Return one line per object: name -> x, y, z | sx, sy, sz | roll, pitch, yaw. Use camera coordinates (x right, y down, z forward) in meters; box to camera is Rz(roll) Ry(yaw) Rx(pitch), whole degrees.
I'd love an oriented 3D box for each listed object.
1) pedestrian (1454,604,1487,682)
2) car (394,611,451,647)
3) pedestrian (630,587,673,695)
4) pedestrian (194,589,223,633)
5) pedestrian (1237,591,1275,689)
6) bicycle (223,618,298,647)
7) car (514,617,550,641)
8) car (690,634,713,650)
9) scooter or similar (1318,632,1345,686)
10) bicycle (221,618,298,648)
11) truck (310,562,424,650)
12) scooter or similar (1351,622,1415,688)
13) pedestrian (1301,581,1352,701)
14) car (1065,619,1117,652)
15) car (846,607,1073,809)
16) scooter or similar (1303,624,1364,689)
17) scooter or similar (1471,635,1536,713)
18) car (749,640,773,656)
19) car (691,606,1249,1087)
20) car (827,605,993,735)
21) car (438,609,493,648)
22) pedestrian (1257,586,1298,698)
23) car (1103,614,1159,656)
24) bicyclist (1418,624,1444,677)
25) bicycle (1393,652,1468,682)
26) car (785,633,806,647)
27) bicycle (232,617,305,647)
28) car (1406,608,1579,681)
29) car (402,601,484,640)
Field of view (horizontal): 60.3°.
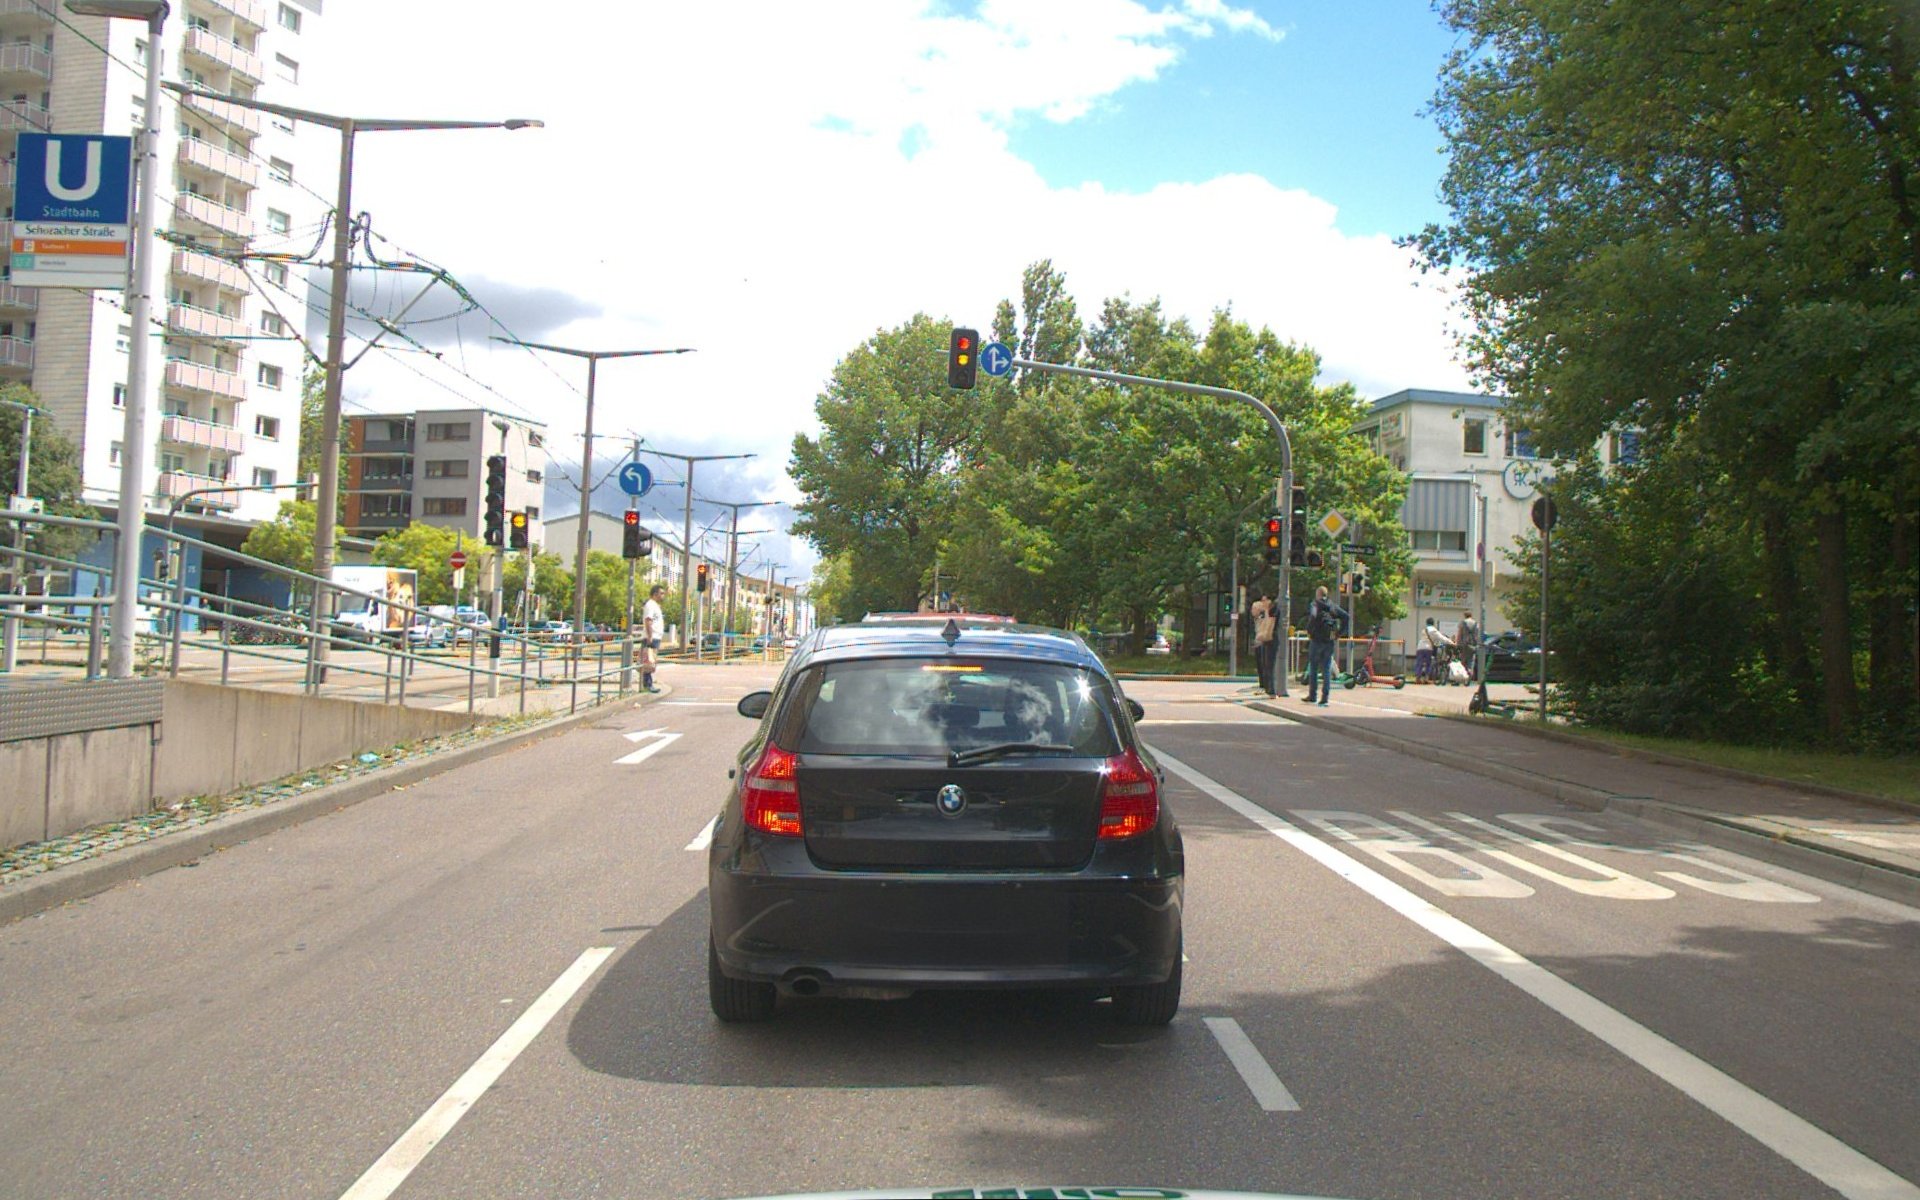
pedestrian -> 11.681, 0.974, 37.820 | 0.644, 1.743, 0.461 | 1, -1, 25
car -> -23.520, 1.245, 72.476 | 1.379, 1.486, 3.772 | 2, -1, -3
pedestrian -> -5.138, 0.682, 27.540 | 0.675, 1.764, 0.685 | 1, -1, -13
pedestrian -> -35.418, 0.516, 77.945 | 0.841, 2.049, 0.847 | 1, -1, 17
pedestrian -> 5.472, 0.735, 30.569 | 0.622, 1.797, 0.518 | 1, -1, 5
bicycle -> -26.544, 1.240, 62.821 | 2.528, 1.026, 0.748 | 3, -3, -29
car -> -28.819, 1.939, 111.444 | 1.559, 1.500, 3.773 | 2, -1, -2
car -> -25.032, 4.033, 160.303 | 1.759, 1.434, 3.997 | 1, 0, -4
scooter or similar -> 7.864, 1.238, 34.996 | 0.536, 1.082, 1.263 | 1, 0, 13
bicycle -> -26.214, 1.236, 61.908 | 2.528, 1.026, 0.748 | 3, -3, -29
truck -> -22.965, 0.259, 64.423 | 2.237, 3.172, 7.311 | 2, -1, -5
scooter or similar -> 8.697, 1.129, 34.029 | 1.127, 1.294, 0.555 | 2, -1, 1
pedestrian -> 6.003, 0.659, 27.049 | 0.778, 1.909, 1.014 | 1, -1, 13
car -> 7.166, 1.941, 90.758 | 1.830, 1.691, 3.988 | 2, -1, -12
car -> -0.026, 0.789, 13.615 | 1.605, 1.424, 3.419 | 1, 0, -1
scooter or similar -> 7.470, 1.127, 33.136 | 1.087, 1.257, 0.539 | 1, -1, 1
scooter or similar -> 9.402, 1.281, 28.628 | 0.872, 1.251, 0.454 | 6, -1, -1
car -> -20.958, 5.069, 174.675 | 1.616, 1.561, 3.874 | 1, -1, 6
car -> 0.010, 0.757, 6.713 | 1.666, 1.424, 3.419 | 1, 0, -1
car -> -0.598, 0.812, 21.072 | 1.862, 1.447, 4.538 | 1, 0, -1
car -> -23.660, 1.351, 79.318 | 1.559, 1.787, 3.773 | 2, -1, -2
pedestrian -> 5.520, 0.728, 28.751 | 0.622, 1.909, 0.518 | 1, -1, 5
car -> 8.229, 1.670, 79.857 | 1.694, 1.904, 3.991 | 2, -1, -9
bicyclist -> 10.556, 1.121, 37.072 | 0.392, 1.177, 0.500 | 0, -1, 37
bicycle -> 10.546, 1.506, 37.097 | 1.560, 0.620, 0.532 | 0, 0, 38
car -> -19.379, 4.691, 195.249 | 1.616, 1.561, 3.874 | 0, -1, 8
bicycle -> -26.716, 1.241, 63.919 | 2.528, 1.026, 0.748 | 3, -3, -29
car -> 15.665, 1.293, 48.784 | 4.450, 2.049, 1.996 | 1, -1, -8
car -> -27.814, 1.114, 88.973 | 3.893, 2.009, 1.630 | 2, -1, -43
